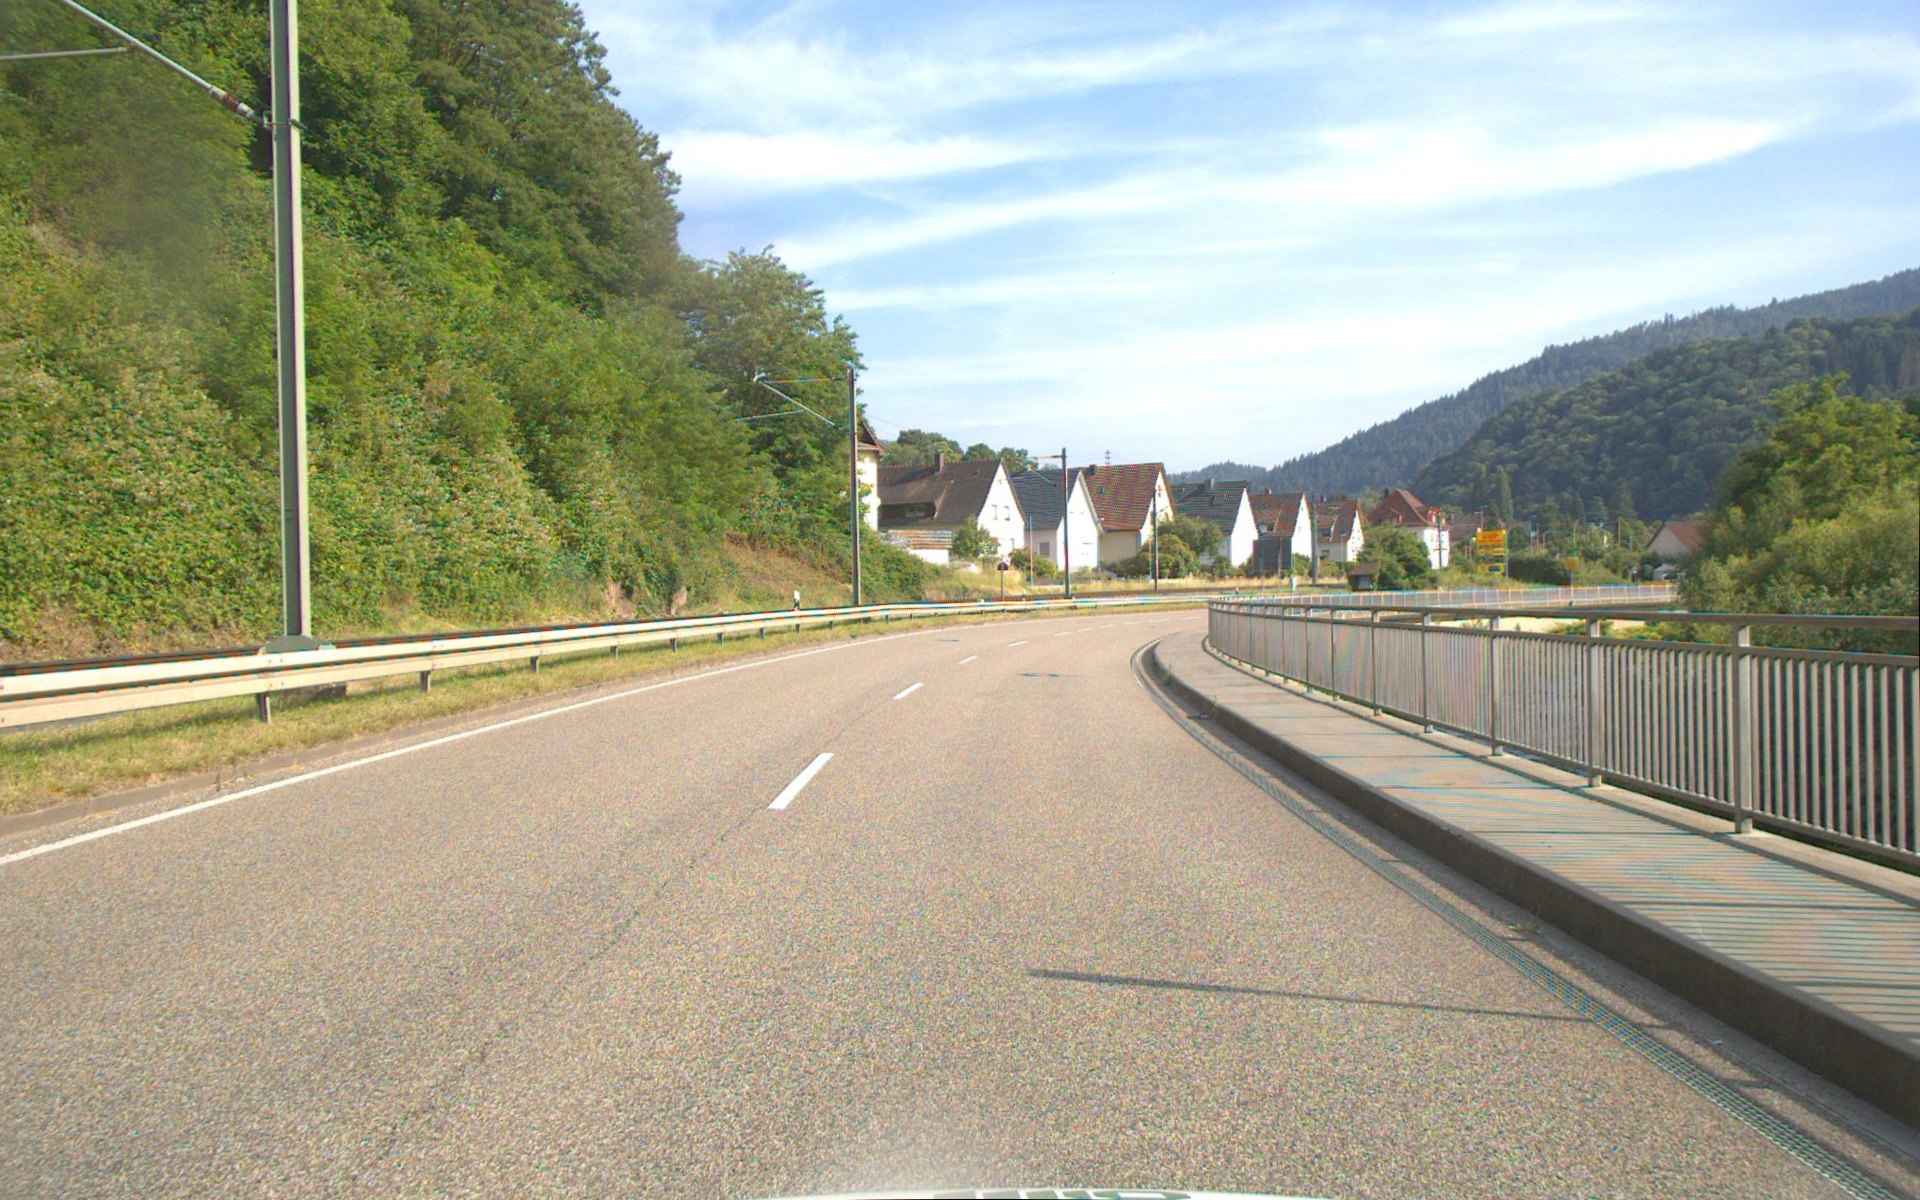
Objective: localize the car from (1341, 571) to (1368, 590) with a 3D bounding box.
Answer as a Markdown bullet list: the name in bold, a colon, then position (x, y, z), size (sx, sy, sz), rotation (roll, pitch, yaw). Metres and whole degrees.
- **car**: position (44.530, -2.193, 186.630), size (1.957, 1.913, 3.995), rotation (7, 3, 27)
